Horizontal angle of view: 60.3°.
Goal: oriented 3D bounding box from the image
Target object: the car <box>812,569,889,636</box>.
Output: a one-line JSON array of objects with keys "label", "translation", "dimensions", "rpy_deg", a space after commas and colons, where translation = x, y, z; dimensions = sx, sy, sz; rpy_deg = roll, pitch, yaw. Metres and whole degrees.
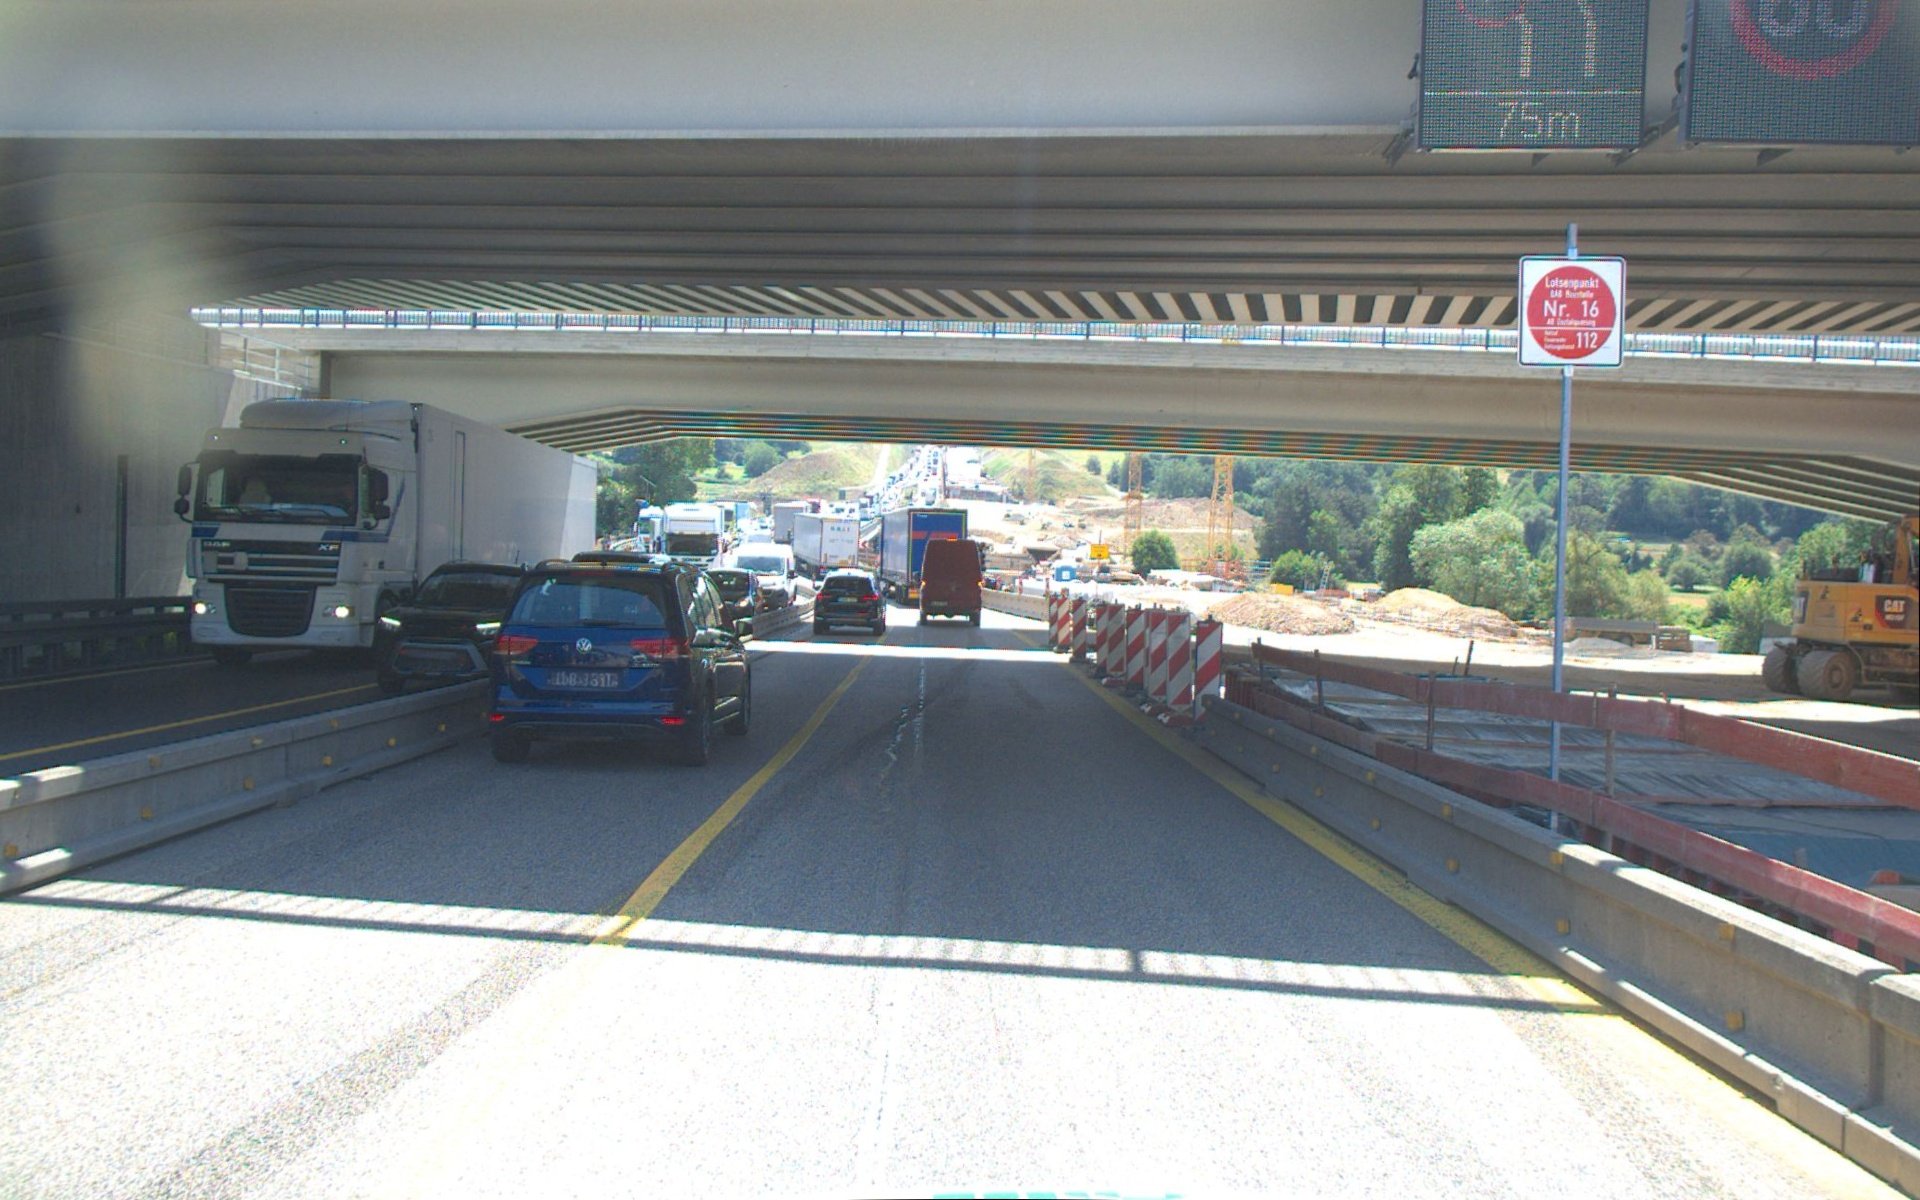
[{"label": "car", "translation": [-2.864, 0.024, 44.123], "dimensions": [1.796, 1.664, 4.389], "rpy_deg": [1, 1, -1]}]

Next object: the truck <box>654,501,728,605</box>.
[{"label": "truck", "translation": [-11.409, -1.984, 70.589], "dimensions": [2.820, 4.121, 4.877], "rpy_deg": [3, 1, -8]}]

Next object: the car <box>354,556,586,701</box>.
[{"label": "car", "translation": [-6.298, 0.289, 21.778], "dimensions": [1.687, 1.637, 4.523], "rpy_deg": [3, 1, -1]}]

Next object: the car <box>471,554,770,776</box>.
[{"label": "car", "translation": [-2.859, 0.499, 14.900], "dimensions": [1.698, 1.664, 4.390], "rpy_deg": [1, 0, 1]}]

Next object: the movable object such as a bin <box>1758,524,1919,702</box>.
[{"label": "movable object such as a bin", "translation": [19.832, 0.324, 35.846], "dimensions": [3.799, 3.604, 2.905], "rpy_deg": [3, -1, 10]}]

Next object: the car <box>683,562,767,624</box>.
[{"label": "car", "translation": [-6.522, -0.208, 46.192], "dimensions": [1.713, 1.638, 4.141], "rpy_deg": [1, 1, 0]}]

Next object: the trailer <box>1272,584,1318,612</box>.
[{"label": "trailer", "translation": [19.418, -0.132, 95.901], "dimensions": [1.592, 1.512, 3.823], "rpy_deg": [2, 1, -4]}]

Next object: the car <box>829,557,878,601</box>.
[{"label": "car", "translation": [-4.600, -0.879, 70.861], "dimensions": [1.799, 1.808, 4.382], "rpy_deg": [1, 0, -7]}]

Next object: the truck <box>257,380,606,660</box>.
[{"label": "truck", "translation": [-9.834, -1.206, 33.018], "dimensions": [2.713, 4.389, 13.487], "rpy_deg": [1, -1, -1]}]

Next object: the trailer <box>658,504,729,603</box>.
[{"label": "trailer", "translation": [-12.382, -2.178, 77.846], "dimensions": [2.823, 4.109, 14.334], "rpy_deg": [3, 1, -8]}]

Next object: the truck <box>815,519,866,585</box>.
[{"label": "truck", "translation": [-7.836, -3.177, 107.938], "dimensions": [3.120, 4.058, 6.737], "rpy_deg": [1, 3, -5]}]

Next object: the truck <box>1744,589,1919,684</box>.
[{"label": "truck", "translation": [23.307, 0.946, 40.995], "dimensions": [6.386, 2.109, 2.666], "rpy_deg": [3, 1, 2]}]

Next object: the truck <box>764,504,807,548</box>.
[{"label": "truck", "translation": [-15.532, -6.512, 146.775], "dimensions": [3.160, 3.419, 8.919], "rpy_deg": [1, -1, -10]}]

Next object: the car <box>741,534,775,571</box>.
[{"label": "car", "translation": [-14.472, -3.435, 118.314], "dimensions": [2.223, 2.395, 5.151], "rpy_deg": [1, 3, -9]}]

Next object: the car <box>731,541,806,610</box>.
[{"label": "car", "translation": [-7.001, -0.884, 61.059], "dimensions": [1.940, 2.370, 6.059], "rpy_deg": [1, 1, 1]}]

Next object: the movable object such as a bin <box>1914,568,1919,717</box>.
[{"label": "movable object such as a bin", "translation": [21.679, 0.904, 31.785], "dimensions": [5.130, 3.110, 2.497], "rpy_deg": [3, -1, 3]}]

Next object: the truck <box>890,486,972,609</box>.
[{"label": "truck", "translation": [-1.351, -2.367, 72.352], "dimensions": [2.888, 5.030, 6.735], "rpy_deg": [1, 3, -6]}]

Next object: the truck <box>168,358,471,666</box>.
[{"label": "truck", "translation": [-9.717, -1.204, 25.736], "dimensions": [2.605, 4.244, 5.186], "rpy_deg": [1, -1, 0]}]

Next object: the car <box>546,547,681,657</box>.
[{"label": "car", "translation": [-6.739, 0.006, 32.633], "dimensions": [1.764, 1.966, 4.966], "rpy_deg": [1, 1, -2]}]

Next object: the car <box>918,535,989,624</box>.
[{"label": "car", "translation": [-0.249, -0.602, 53.116], "dimensions": [2.106, 2.656, 5.437], "rpy_deg": [1, -1, -1]}]

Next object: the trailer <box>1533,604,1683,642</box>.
[{"label": "trailer", "translation": [23.397, 0.835, 59.847], "dimensions": [4.617, 1.241, 2.055], "rpy_deg": [1, -1, -1]}]

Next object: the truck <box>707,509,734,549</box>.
[{"label": "truck", "translation": [-26.795, -7.939, 185.235], "dimensions": [2.574, 4.343, 4.728], "rpy_deg": [3, 2, -5]}]

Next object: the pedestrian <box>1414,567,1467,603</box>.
[{"label": "pedestrian", "translation": [29.323, -0.901, 100.981], "dimensions": [1.953, 2.049, 3.998], "rpy_deg": [1, -1, -2]}]
